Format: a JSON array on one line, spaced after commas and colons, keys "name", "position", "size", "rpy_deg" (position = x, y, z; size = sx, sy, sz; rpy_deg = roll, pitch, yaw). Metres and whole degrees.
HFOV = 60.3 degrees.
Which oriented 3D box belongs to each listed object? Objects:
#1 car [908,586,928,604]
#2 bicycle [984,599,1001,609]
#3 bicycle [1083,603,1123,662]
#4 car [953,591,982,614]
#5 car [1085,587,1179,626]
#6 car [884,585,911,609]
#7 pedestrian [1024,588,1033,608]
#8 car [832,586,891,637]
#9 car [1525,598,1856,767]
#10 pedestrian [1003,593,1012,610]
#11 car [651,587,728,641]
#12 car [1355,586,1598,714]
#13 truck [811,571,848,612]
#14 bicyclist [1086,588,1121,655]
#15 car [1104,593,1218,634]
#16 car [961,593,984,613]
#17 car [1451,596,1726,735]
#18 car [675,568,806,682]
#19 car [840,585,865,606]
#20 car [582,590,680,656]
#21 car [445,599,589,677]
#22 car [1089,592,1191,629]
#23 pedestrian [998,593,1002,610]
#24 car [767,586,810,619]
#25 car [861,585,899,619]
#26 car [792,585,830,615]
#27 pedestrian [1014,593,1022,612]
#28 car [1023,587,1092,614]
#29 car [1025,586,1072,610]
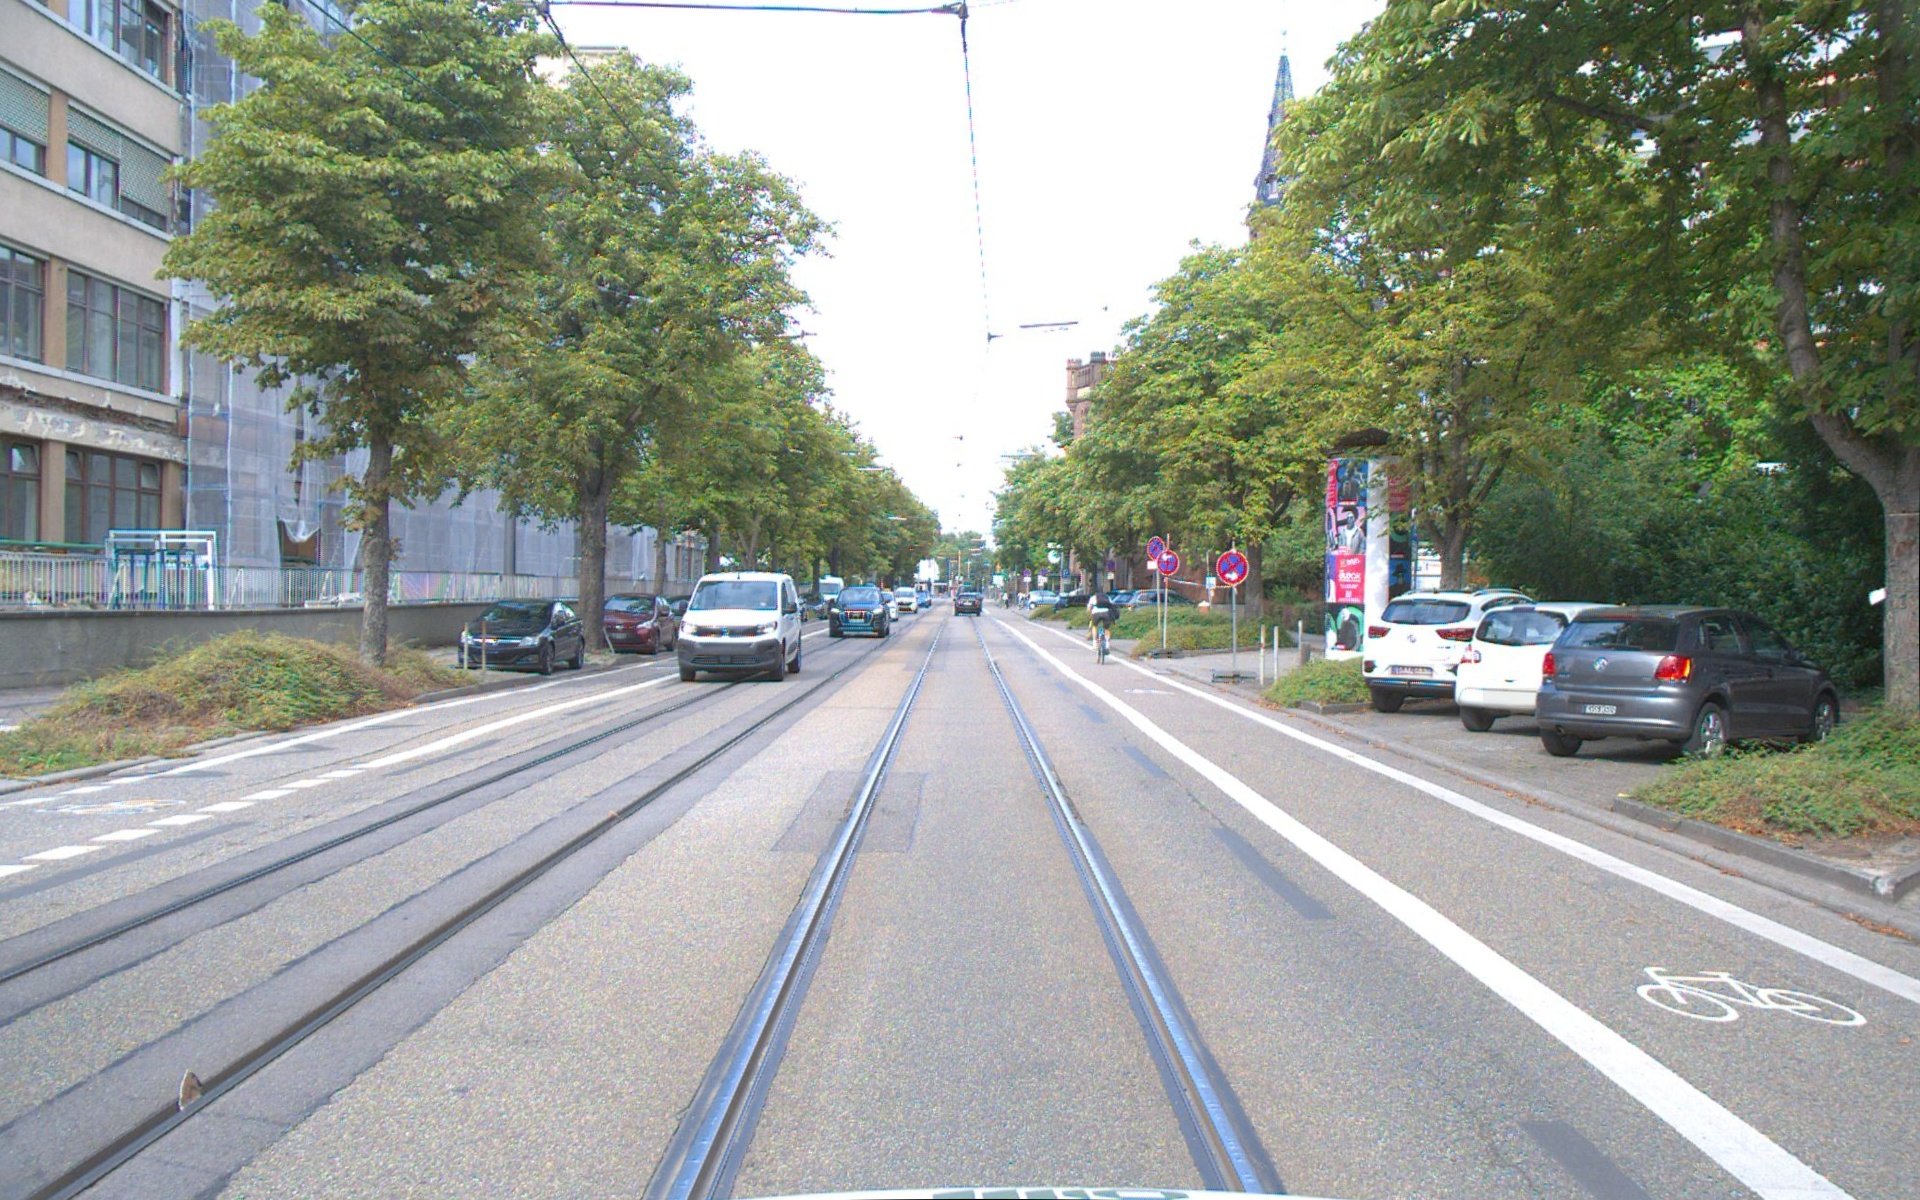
[{"name": "car", "position": [-3.932, -0.475, 155.747], "size": [1.766, 1.650, 4.484], "rpy_deg": [0, 0, -1]}, {"name": "bicycle", "position": [3.284, 0.403, 167.224], "size": [1.684, 1.009, 0.659], "rpy_deg": [2, 0, 8]}, {"name": "bicycle", "position": [3.266, 0.736, 37.857], "size": [0.644, 1.270, 2.124], "rpy_deg": [2, 0, -1]}, {"name": "car", "position": [0.482, 0.129, 108.709], "size": [1.757, 1.448, 3.999], "rpy_deg": [1, 0, -1]}, {"name": "car", "position": [7.614, 0.266, 73.445], "size": [3.907, 1.656, 1.884], "rpy_deg": [1, 0, -3]}, {"name": "car", "position": [-4.430, -0.242, 117.126], "size": [1.766, 1.650, 4.484], "rpy_deg": [0, 0, -1]}, {"name": "pedestrian", "position": [5.694, -0.167, 137.897], "size": [0.711, 1.674, 0.767], "rpy_deg": [2, 0, 1]}, {"name": "car", "position": [-3.290, 0.364, 55.700], "size": [1.766, 1.650, 4.484], "rpy_deg": [0, 0, -1]}, {"name": "car", "position": [7.281, 0.741, 16.375], "size": [3.501, 1.468, 1.601], "rpy_deg": [1, 0, -39]}, {"name": "pedestrian", "position": [4.818, 0.121, 166.911], "size": [0.711, 1.674, 0.767], "rpy_deg": [2, 0, 10]}, {"name": "car", "position": [-8.395, 0.405, 51.612], "size": [1.766, 1.611, 4.030], "rpy_deg": [0, 0, -1]}, {"name": "car", "position": [7.068, 0.641, 22.524], "size": [3.414, 1.600, 1.538], "rpy_deg": [1, 0, -39]}, {"name": "truck", "position": [-8.347, -0.547, 105.986], "size": [2.029, 2.513, 4.898], "rpy_deg": [0, 0, -1]}, {"name": "bicyclist", "position": [3.270, 0.485, 37.826], "size": [0.644, 1.489, 1.178], "rpy_deg": [1, 0, -1]}, {"name": "car", "position": [7.397, 0.482, 61.138], "size": [3.907, 1.449, 1.884], "rpy_deg": [1, 0, -3]}, {"name": "car", "position": [0.987, 0.231, 130.311], "size": [1.757, 1.495, 4.000], "rpy_deg": [2, 0, 1]}, {"name": "car", "position": [7.418, 0.713, 19.426], "size": [3.414, 1.468, 1.538], "rpy_deg": [1, 0, -39]}, {"name": "car", "position": [-3.810, 0.399, 29.348], "size": [1.766, 1.855, 4.484], "rpy_deg": [0, 0, -1]}, {"name": "car", "position": [-8.554, -0.337, 131.710], "size": [1.766, 1.611, 4.030], "rpy_deg": [0, 0, -1]}, {"name": "car", "position": [-8.431, 0.566, 42.741], "size": [1.766, 1.611, 4.030], "rpy_deg": [0, 0, -1]}, {"name": "car", "position": [-8.584, 0.692, 32.347], "size": [1.766, 1.398, 4.030], "rpy_deg": [0, 0, -1]}, {"name": "car", "position": [7.393, 0.415, 68.040], "size": [3.907, 1.449, 1.884], "rpy_deg": [1, 0, -3]}, {"name": "pedestrian", "position": [4.952, 0.200, 204.215], "size": [0.507, 2.049, 0.480], "rpy_deg": [1, 0, 3]}, {"name": "car", "position": [-8.435, 0.109, 81.541], "size": [1.766, 1.611, 4.030], "rpy_deg": [0, 0, -1]}, {"name": "car", "position": [-4.048, 0.090, 84.062], "size": [1.766, 1.650, 4.484], "rpy_deg": [0, 0, -1]}, {"name": "car", "position": [-8.349, 0.004, 92.947], "size": [1.766, 1.611, 4.030], "rpy_deg": [0, 0, -1]}, {"name": "pedestrian", "position": [5.150, 0.254, 147.139], "size": [0.711, 1.674, 0.767], "rpy_deg": [2, 0, 1]}, {"name": "car", "position": [5.834, 0.027, 99.065], "size": [3.907, 1.534, 1.884], "rpy_deg": [1, 0, -3]}, {"name": "car", "position": [7.757, -0.198, 145.260], "size": [3.907, 1.944, 1.999], "rpy_deg": [2, 0, -3]}]
